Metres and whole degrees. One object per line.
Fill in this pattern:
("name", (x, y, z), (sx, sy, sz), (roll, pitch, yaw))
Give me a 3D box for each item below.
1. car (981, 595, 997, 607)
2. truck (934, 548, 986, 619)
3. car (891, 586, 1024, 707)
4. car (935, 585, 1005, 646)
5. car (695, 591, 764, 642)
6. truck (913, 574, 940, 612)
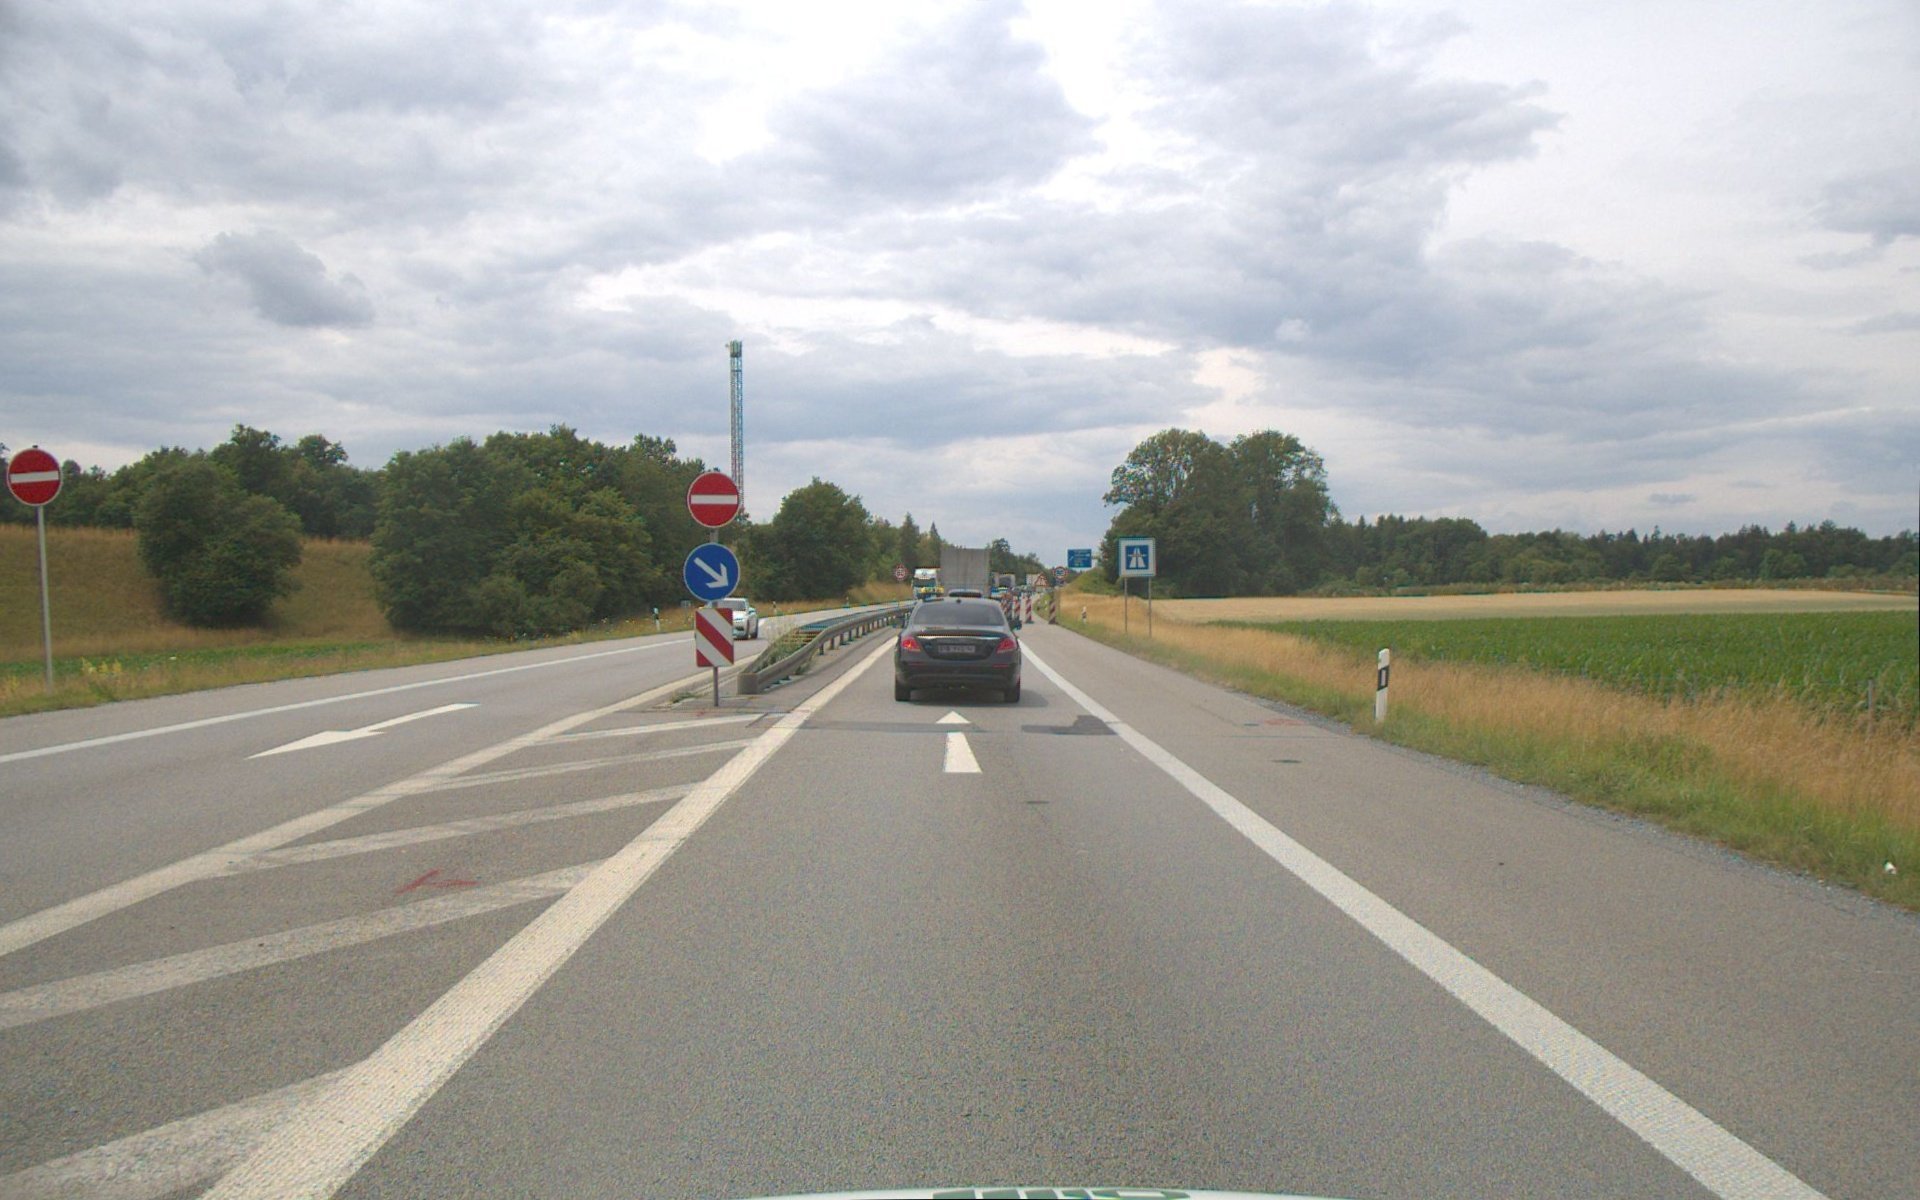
("car", (3.506, 0.133, 201.308), (1.616, 1.420, 3.704), (2, -1, -3))
("truck", (0.016, -0.822, 86.975), (2.534, 3.586, 4.812), (2, -1, 0))
("car", (-0.042, 0.657, 24.450), (1.759, 1.587, 3.999), (2, -1, 0))
("car", (0.325, 0.545, 59.453), (1.956, 2.049, 3.993), (2, -1, -7))
("car", (-8.046, 0.587, 57.983), (1.780, 1.661, 4.601), (2, -1, -1))
("truck", (-3.782, -0.733, 189.945), (2.741, 4.214, 7.229), (2, -1, 1))
